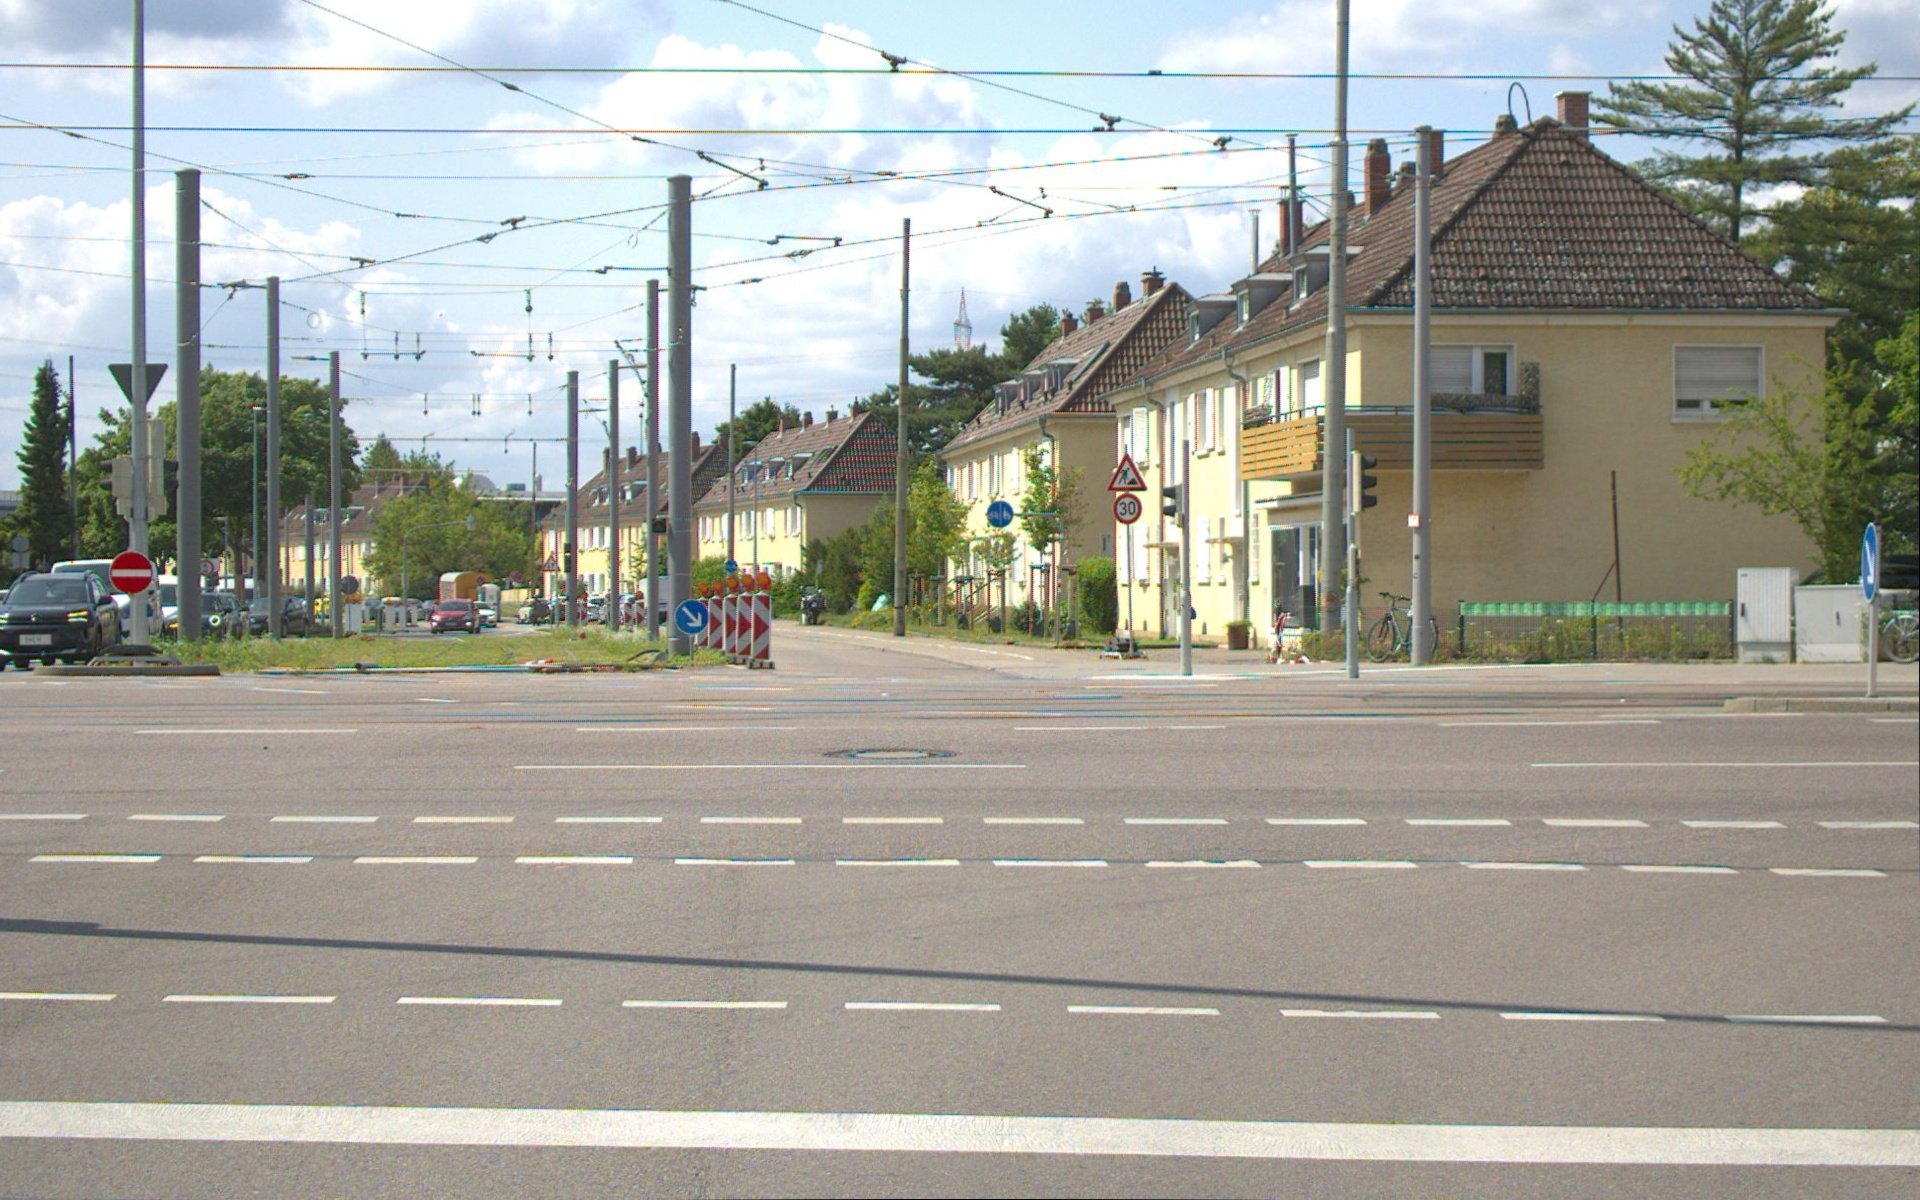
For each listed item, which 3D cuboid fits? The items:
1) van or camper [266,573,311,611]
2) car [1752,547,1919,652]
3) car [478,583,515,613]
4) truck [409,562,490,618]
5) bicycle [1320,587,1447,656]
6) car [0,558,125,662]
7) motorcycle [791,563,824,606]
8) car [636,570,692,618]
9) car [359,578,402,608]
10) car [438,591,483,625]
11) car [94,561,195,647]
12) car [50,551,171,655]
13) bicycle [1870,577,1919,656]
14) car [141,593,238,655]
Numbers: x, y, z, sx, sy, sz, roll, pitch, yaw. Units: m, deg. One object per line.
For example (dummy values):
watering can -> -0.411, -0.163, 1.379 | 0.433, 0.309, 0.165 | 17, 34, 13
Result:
van or camper -> -49.713, -0.600, 254.389 | 2.691, 2.693, 6.520 | 0, 1, -16
car -> 14.426, 0.012, 55.389 | 1.821, 1.615, 4.001 | 0, -1, -10
car -> -24.150, -0.114, 179.194 | 1.843, 1.556, 4.188 | 0, 0, -7
truck -> -32.323, -0.612, 217.521 | 2.640, 3.482, 9.439 | 0, 0, -24
bicycle -> 6.821, 0.337, 55.494 | 0.593, 1.093, 2.276 | 0, 0, -38
car -> -15.643, 0.141, 59.549 | 1.786, 1.715, 4.442 | 0, 1, -7
motorcycle -> -5.866, -0.592, 132.019 | 1.066, 1.630, 2.084 | 0, 0, -8
car -> -13.560, -0.279, 157.267 | 2.065, 2.142, 4.879 | 0, 0, -10
car -> -38.171, -0.458, 226.283 | 1.993, 1.904, 4.001 | -1, 1, -22
car -> -21.883, 0.340, 150.784 | 1.843, 1.489, 4.857 | 0, 0, -7
car -> -17.481, 0.080, 73.836 | 1.732, 1.776, 4.406 | -1, 0, -9
car -> -16.254, 0.052, 65.965 | 1.814, 1.915, 4.749 | 0, 0, -9
bicycle -> 13.820, 0.231, 48.414 | 1.806, 1.101, 0.701 | 0, 0, 39
car -> -18.076, 0.544, 80.785 | 1.914, 1.414, 4.001 | 0, 0, -8
